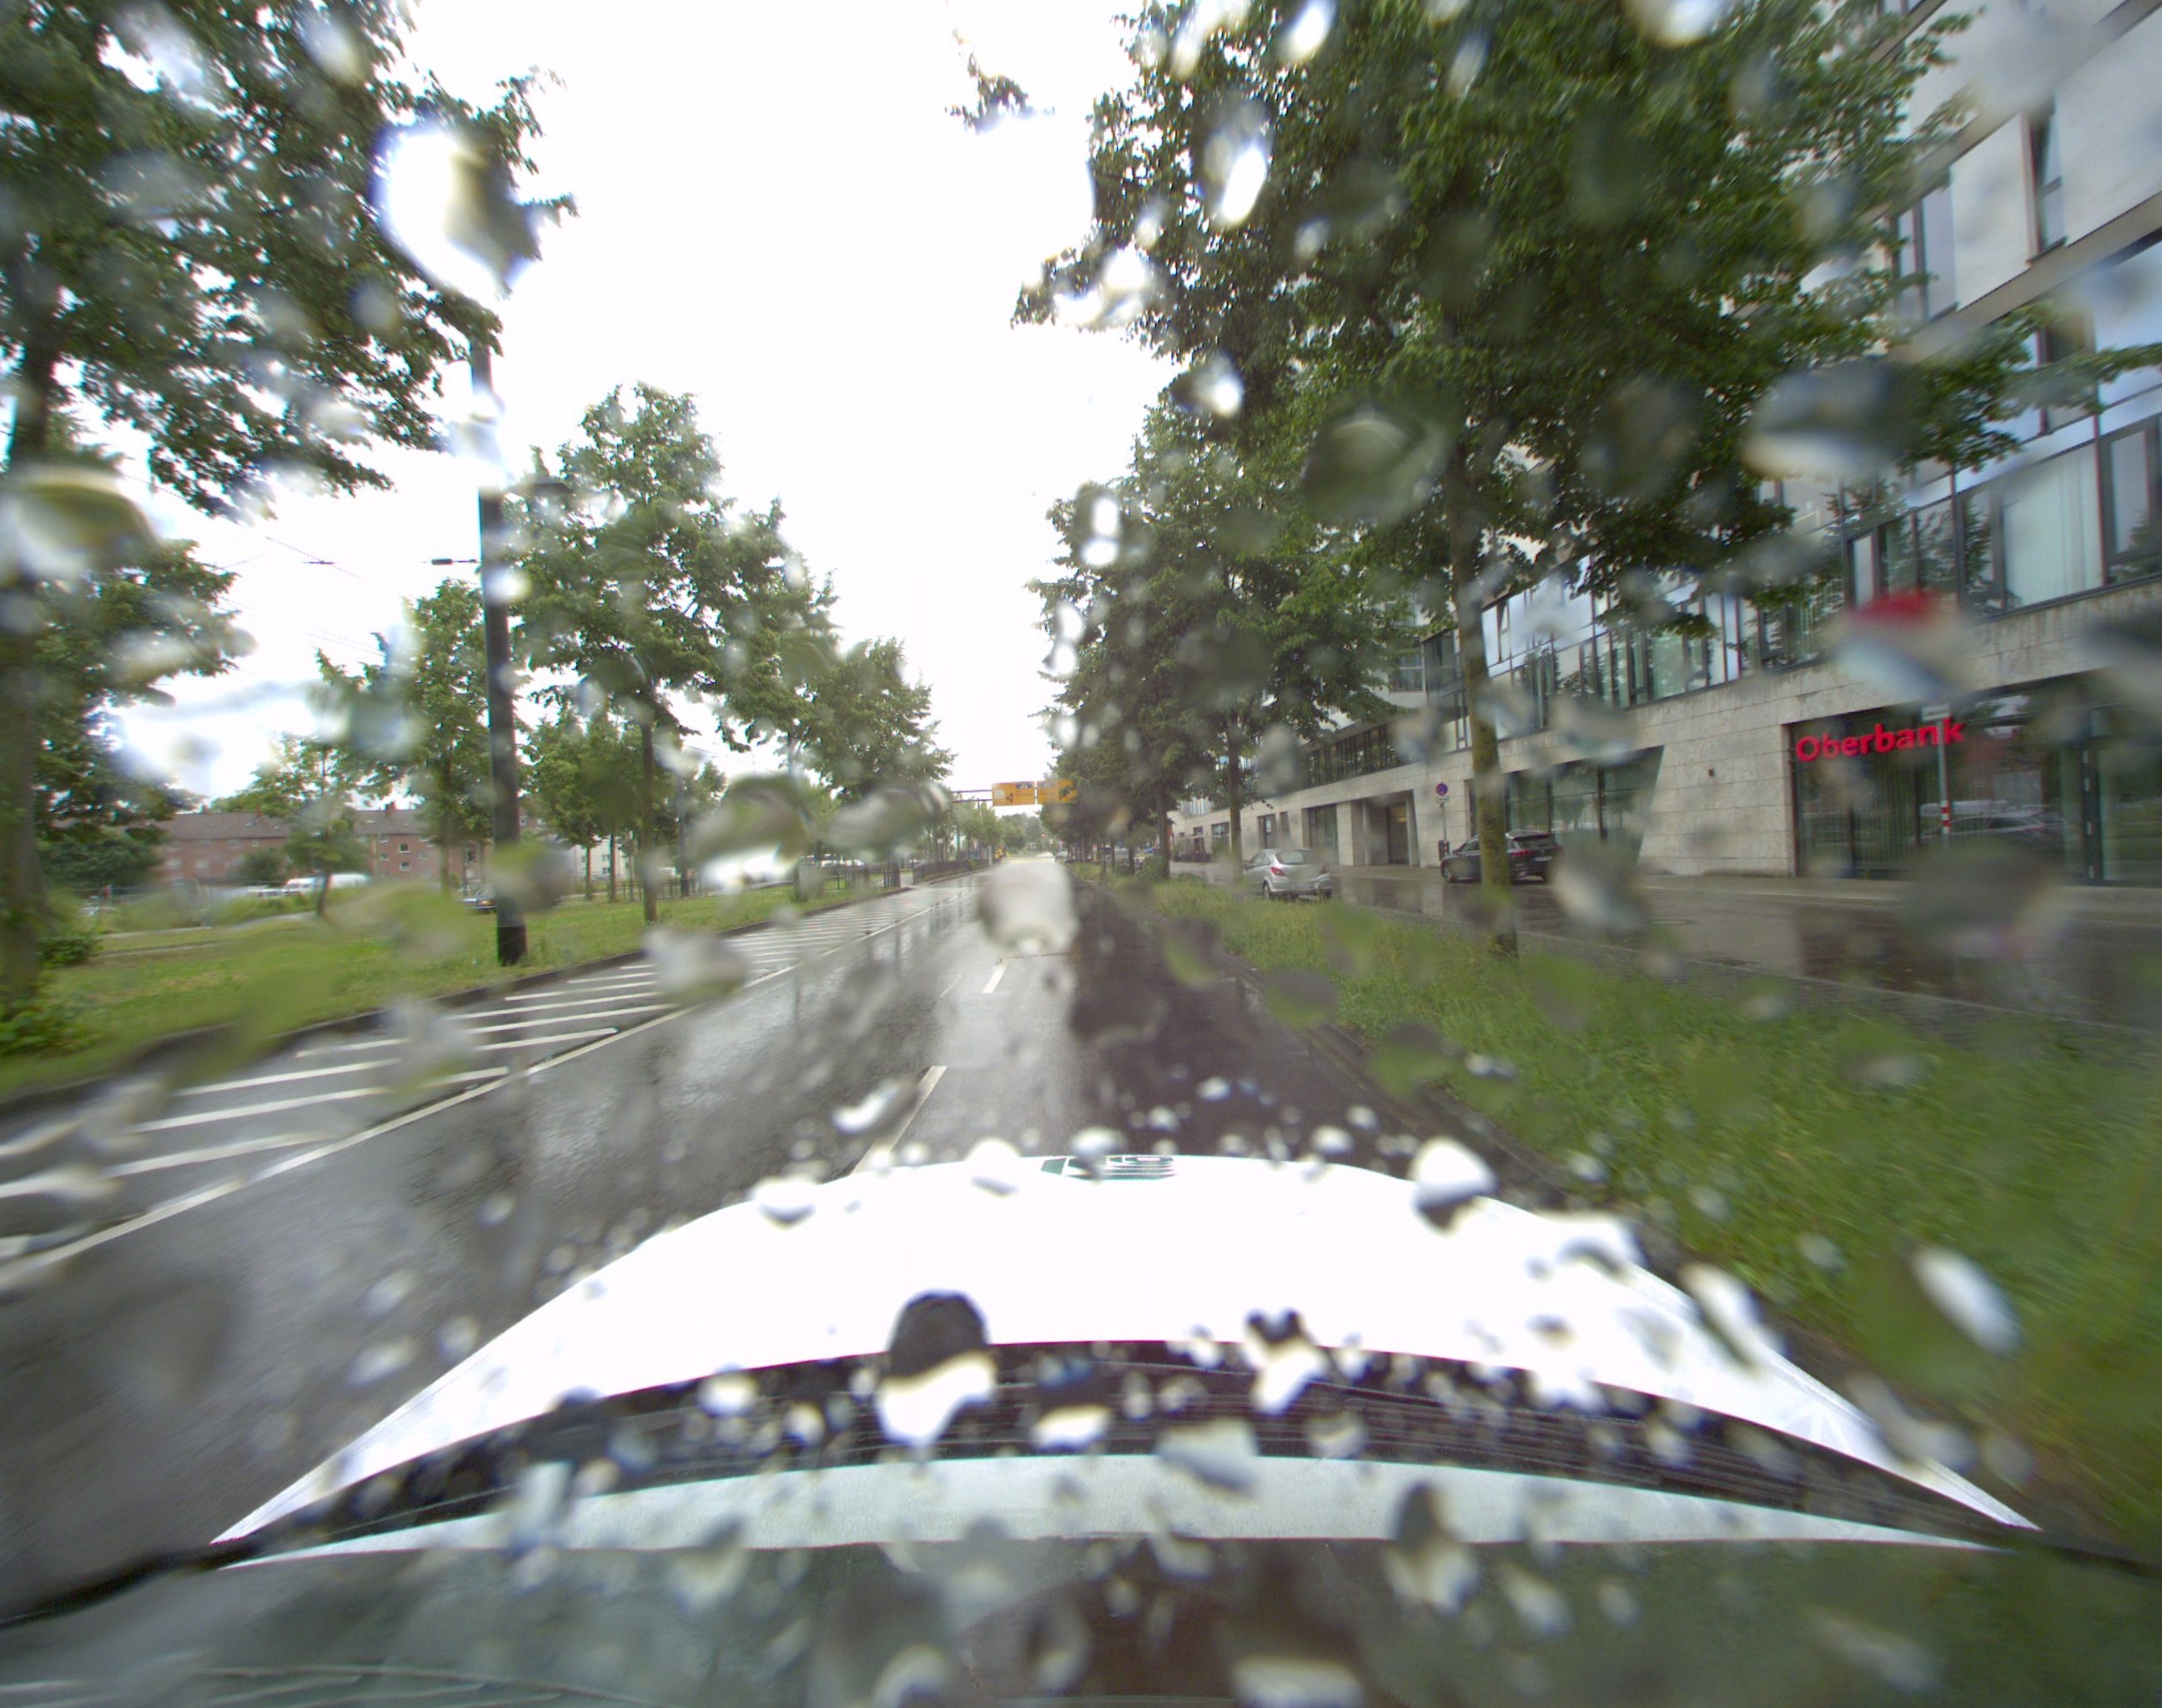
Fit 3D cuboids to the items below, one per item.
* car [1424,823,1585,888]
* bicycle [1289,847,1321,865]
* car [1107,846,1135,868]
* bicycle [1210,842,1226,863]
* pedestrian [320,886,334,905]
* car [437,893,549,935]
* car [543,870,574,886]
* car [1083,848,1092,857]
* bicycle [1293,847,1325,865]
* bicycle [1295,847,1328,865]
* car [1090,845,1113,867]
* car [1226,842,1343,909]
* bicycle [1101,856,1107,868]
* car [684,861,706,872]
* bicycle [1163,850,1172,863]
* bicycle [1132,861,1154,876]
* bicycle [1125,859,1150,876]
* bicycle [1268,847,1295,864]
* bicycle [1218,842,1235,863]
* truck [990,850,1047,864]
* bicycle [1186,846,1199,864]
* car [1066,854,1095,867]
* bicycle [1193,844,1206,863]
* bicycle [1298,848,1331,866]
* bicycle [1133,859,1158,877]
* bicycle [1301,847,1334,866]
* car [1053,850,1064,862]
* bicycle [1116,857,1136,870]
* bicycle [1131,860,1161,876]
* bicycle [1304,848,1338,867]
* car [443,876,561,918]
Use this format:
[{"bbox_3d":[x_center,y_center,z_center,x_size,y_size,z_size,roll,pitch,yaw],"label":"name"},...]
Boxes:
[{"bbox_3d":[12.379,0.002,24.254,1.988,1.501,5.032,-7,1,-1],"label":"car"},{"bbox_3d":[14.092,0.148,51.198,1.801,1.028,0.541,-3,-1,-1],"label":"bicycle"},{"bbox_3d":[3.456,0.253,71.441,1.902,1.791,4.683,-3,0,-3],"label":"car"},{"bbox_3d":[12.207,-0.122,72.639,0.643,1.722,3.117,-3,2,-3],"label":"bicycle"},{"bbox_3d":[-71.888,3.965,77.648,0.677,1.671,0.694,-3,2,-11],"label":"pedestrian"},{"bbox_3d":[-22.994,2.304,32.108,1.488,1.298,4.960,-3,0,-10],"label":"car"},{"bbox_3d":[-76.884,3.447,119.858,1.989,2.013,3.996,-3,2,-3],"label":"car"},{"bbox_3d":[1.557,-0.423,197.221,1.988,2.013,3.998,-3,2,-1],"label":"car"},{"bbox_3d":[14.094,0.145,50.443,1.801,1.028,0.541,-3,-1,-1],"label":"bicycle"},{"bbox_3d":[14.094,0.143,49.793,1.801,1.028,0.541,-3,-1,-1],"label":"bicycle"},{"bbox_3d":[2.281,0.175,89.986,2.116,2.274,4.560,-3,0,-3],"label":"car"},{"bbox_3d":[5.553,0.508,22.855,1.877,1.505,4.720,-3,2,-3],"label":"car"},{"bbox_3d":[1.608,0.550,57.314,0.274,0.849,1.291,-3,0,-2],"label":"bicycle"},{"bbox_3d":[-71.621,2.275,151.034,3.551,1.738,1.691,-4,2,-27],"label":"car"},{"bbox_3d":[11.123,0.302,105.071,0.664,1.534,2.762,-3,2,-2],"label":"bicycle"},{"bbox_3d":[3.651,0.846,48.026,1.283,0.849,0.275,-3,0,1],"label":"bicycle"},{"bbox_3d":[3.498,0.842,50.422,1.447,1.017,0.349,-3,0,0],"label":"bicycle"},{"bbox_3d":[13.564,0.104,55.169,1.689,1.028,0.423,-3,-1,-1],"label":"bicycle"},{"bbox_3d":[12.986,-0.160,72.695,0.770,1.722,3.117,-3,2,-3],"label":"bicycle"},{"bbox_3d":[-16.663,0.773,217.334,14.857,3.147,3.511,-2,0,-10],"label":"truck"},{"bbox_3d":[11.302,0.073,82.754,0.643,1.722,3.117,-3,2,-3],"label":"bicycle"},{"bbox_3d":[-0.116,0.812,106.814,1.829,1.545,3.957,-4,3,-35],"label":"car"},{"bbox_3d":[12.040,-0.057,82.881,0.643,1.722,3.117,-3,2,-3],"label":"bicycle"},{"bbox_3d":[14.092,0.178,49.187,1.801,1.028,0.541,-3,-1,-1],"label":"bicycle"},{"bbox_3d":[3.935,0.834,49.621,1.432,1.017,0.349,-2,0,3],"label":"bicycle"},{"bbox_3d":[14.090,0.131,48.578,1.801,1.028,0.541,-3,-1,-1],"label":"bicycle"},{"bbox_3d":[-4.112,0.321,150.211,1.936,2.013,3.997,-3,2,-2],"label":"car"},{"bbox_3d":[3.183,0.647,57.593,1.286,0.849,0.275,-3,0,-4],"label":"bicycle"},{"bbox_3d":[3.809,0.810,47.711,1.666,0.849,0.275,-3,0,1],"label":"bicycle"},{"bbox_3d":[14.091,0.230,47.811,1.801,1.028,0.401,-3,-1,-1],"label":"bicycle"},{"bbox_3d":[-23.037,1.665,32.666,1.546,1.266,4.844,-3,1,-5],"label":"car"}]
